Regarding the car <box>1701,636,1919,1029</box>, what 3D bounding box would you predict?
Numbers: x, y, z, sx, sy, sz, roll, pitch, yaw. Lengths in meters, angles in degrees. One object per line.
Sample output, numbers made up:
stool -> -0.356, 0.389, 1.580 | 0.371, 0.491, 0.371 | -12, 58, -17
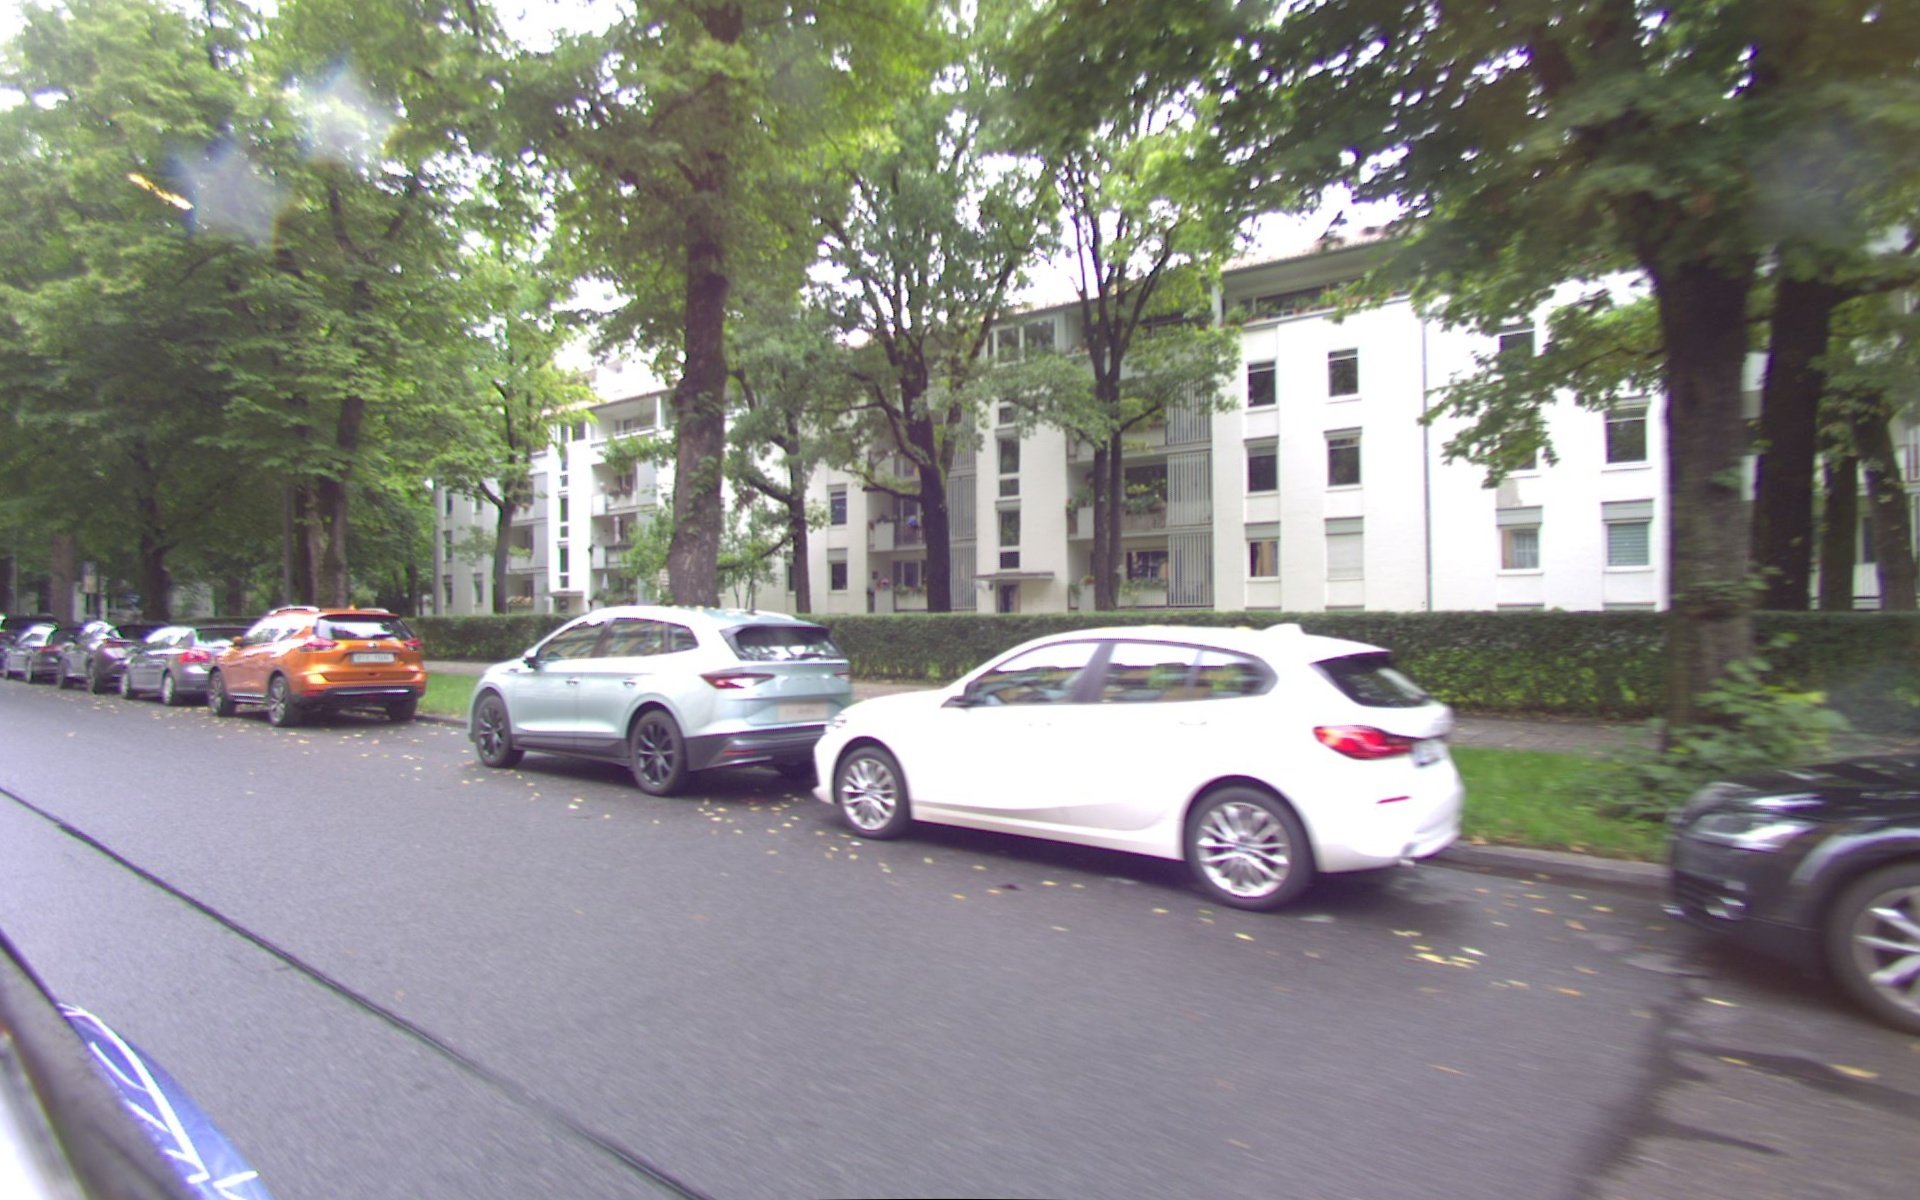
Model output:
car -> 4.939, 0.817, 3.256 | 4.040, 1.353, 1.561 | -1, -2, 40

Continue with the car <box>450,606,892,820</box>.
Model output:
car -> -2.930, 0.902, 9.767 | 4.507, 1.613, 1.798 | -1, -2, 38

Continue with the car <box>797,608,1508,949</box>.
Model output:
car -> 0.981, 0.832, 6.416 | 4.193, 1.508, 1.562 | -1, -2, 38

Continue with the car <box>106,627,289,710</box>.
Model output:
car -> -14.718, 1.240, 19.464 | 4.244, 1.433, 1.711 | -1, -2, 37

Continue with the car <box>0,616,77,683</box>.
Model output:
car -> -27.520, 1.402, 29.363 | 4.914, 1.811, 1.974 | -1, -3, 39

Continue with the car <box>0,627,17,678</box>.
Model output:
car -> -32.929, 1.677, 33.555 | 4.518, 1.634, 1.748 | -1, -4, 39

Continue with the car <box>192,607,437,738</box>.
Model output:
car -> -10.135, 1.019, 15.751 | 4.636, 1.741, 1.854 | -1, -2, 39

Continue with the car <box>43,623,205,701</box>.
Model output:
car -> -18.688, 1.341, 22.558 | 4.478, 1.586, 1.769 | -1, -3, 37

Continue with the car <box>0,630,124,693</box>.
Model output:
car -> -23.185, 1.517, 26.006 | 4.690, 1.462, 1.702 | -1, -2, 39
